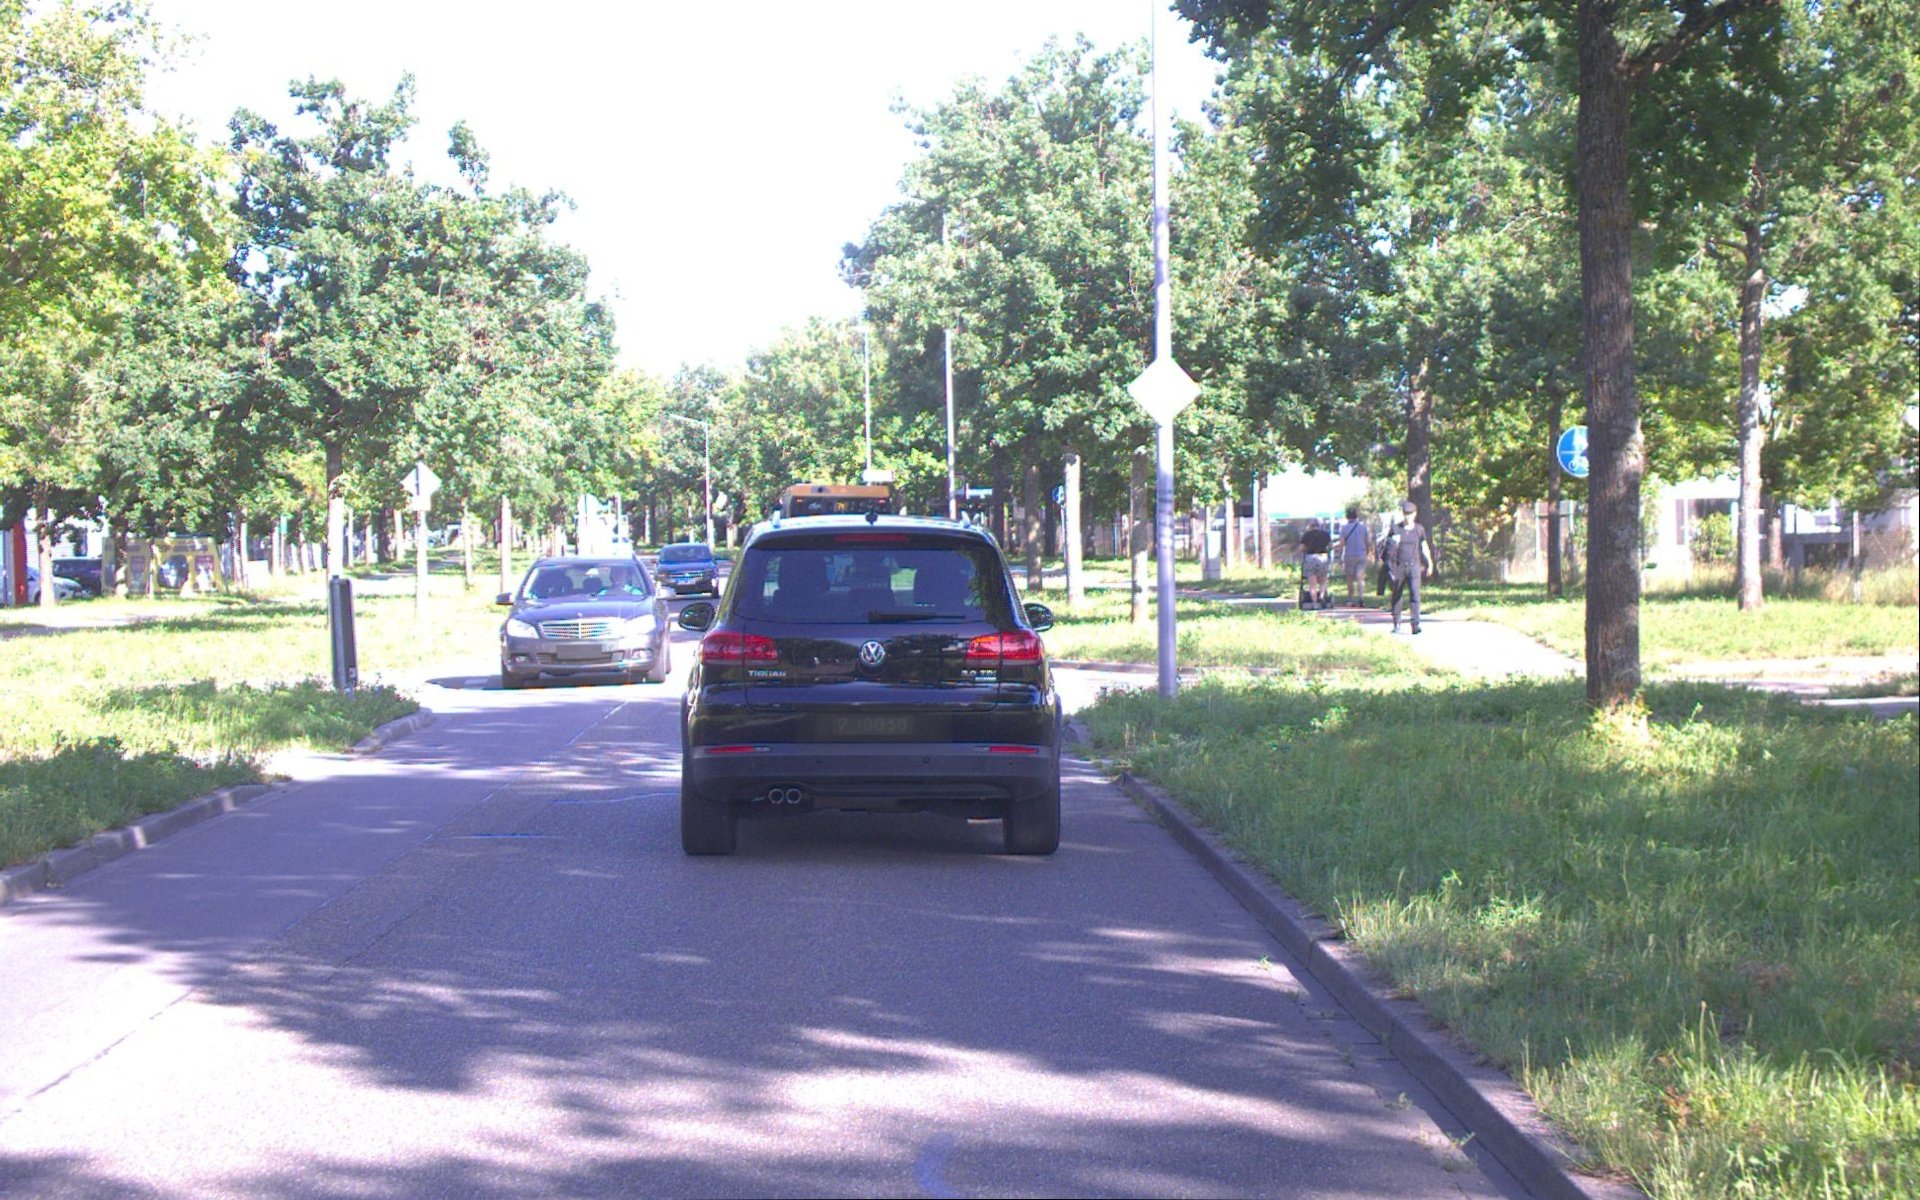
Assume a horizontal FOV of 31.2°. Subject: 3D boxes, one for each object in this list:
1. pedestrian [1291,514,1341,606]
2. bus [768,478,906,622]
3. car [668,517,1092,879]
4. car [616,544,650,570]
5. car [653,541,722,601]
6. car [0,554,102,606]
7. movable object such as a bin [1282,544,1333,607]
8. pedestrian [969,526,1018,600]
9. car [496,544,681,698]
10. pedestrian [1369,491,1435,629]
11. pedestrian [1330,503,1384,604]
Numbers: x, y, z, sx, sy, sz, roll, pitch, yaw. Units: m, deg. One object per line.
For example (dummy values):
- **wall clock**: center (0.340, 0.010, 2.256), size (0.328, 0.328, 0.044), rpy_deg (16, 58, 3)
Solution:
- **pedestrian**: center (6.231, -0.705, 60.217), size (0.725, 1.597, 0.868), rpy_deg (-1, 1, -3)
- **bus**: center (-3.310, -1.345, 89.366), size (2.764, 3.444, 11.213), rpy_deg (-1, 1, -6)
- **car**: center (-0.477, 0.399, 17.967), size (1.936, 1.650, 4.428), rpy_deg (0, 1, -3)
- **car**: center (-19.862, -2.619, 208.859), size (1.744, 1.460, 4.427), rpy_deg (-2, 1, -2)
- **car**: center (-7.581, -0.839, 95.880), size (1.804, 1.531, 4.496), rpy_deg (-3, 2, -4)
- **car**: center (-29.604, -0.634, 109.781), size (3.744, 1.612, 1.962), rpy_deg (-1, 1, 12)
- **movable object such as a bin**: center (6.177, -0.444, 61.102), size (0.725, 1.077, 0.868), rpy_deg (-3, 1, -3)
- **pedestrian**: center (0.771, -0.846, 78.537), size (1.019, 1.646, 1.100), rpy_deg (-1, 1, -3)
- **car**: center (-4.134, 0.182, 38.822), size (1.765, 1.523, 4.496), rpy_deg (-3, 2, -3)
- **pedestrian**: center (5.951, -0.544, 46.320), size (0.725, 1.806, 0.868), rpy_deg (-1, 3, -3)
- **pedestrian**: center (7.080, -0.825, 61.328), size (0.725, 1.749, 0.868), rpy_deg (-3, 1, -3)
